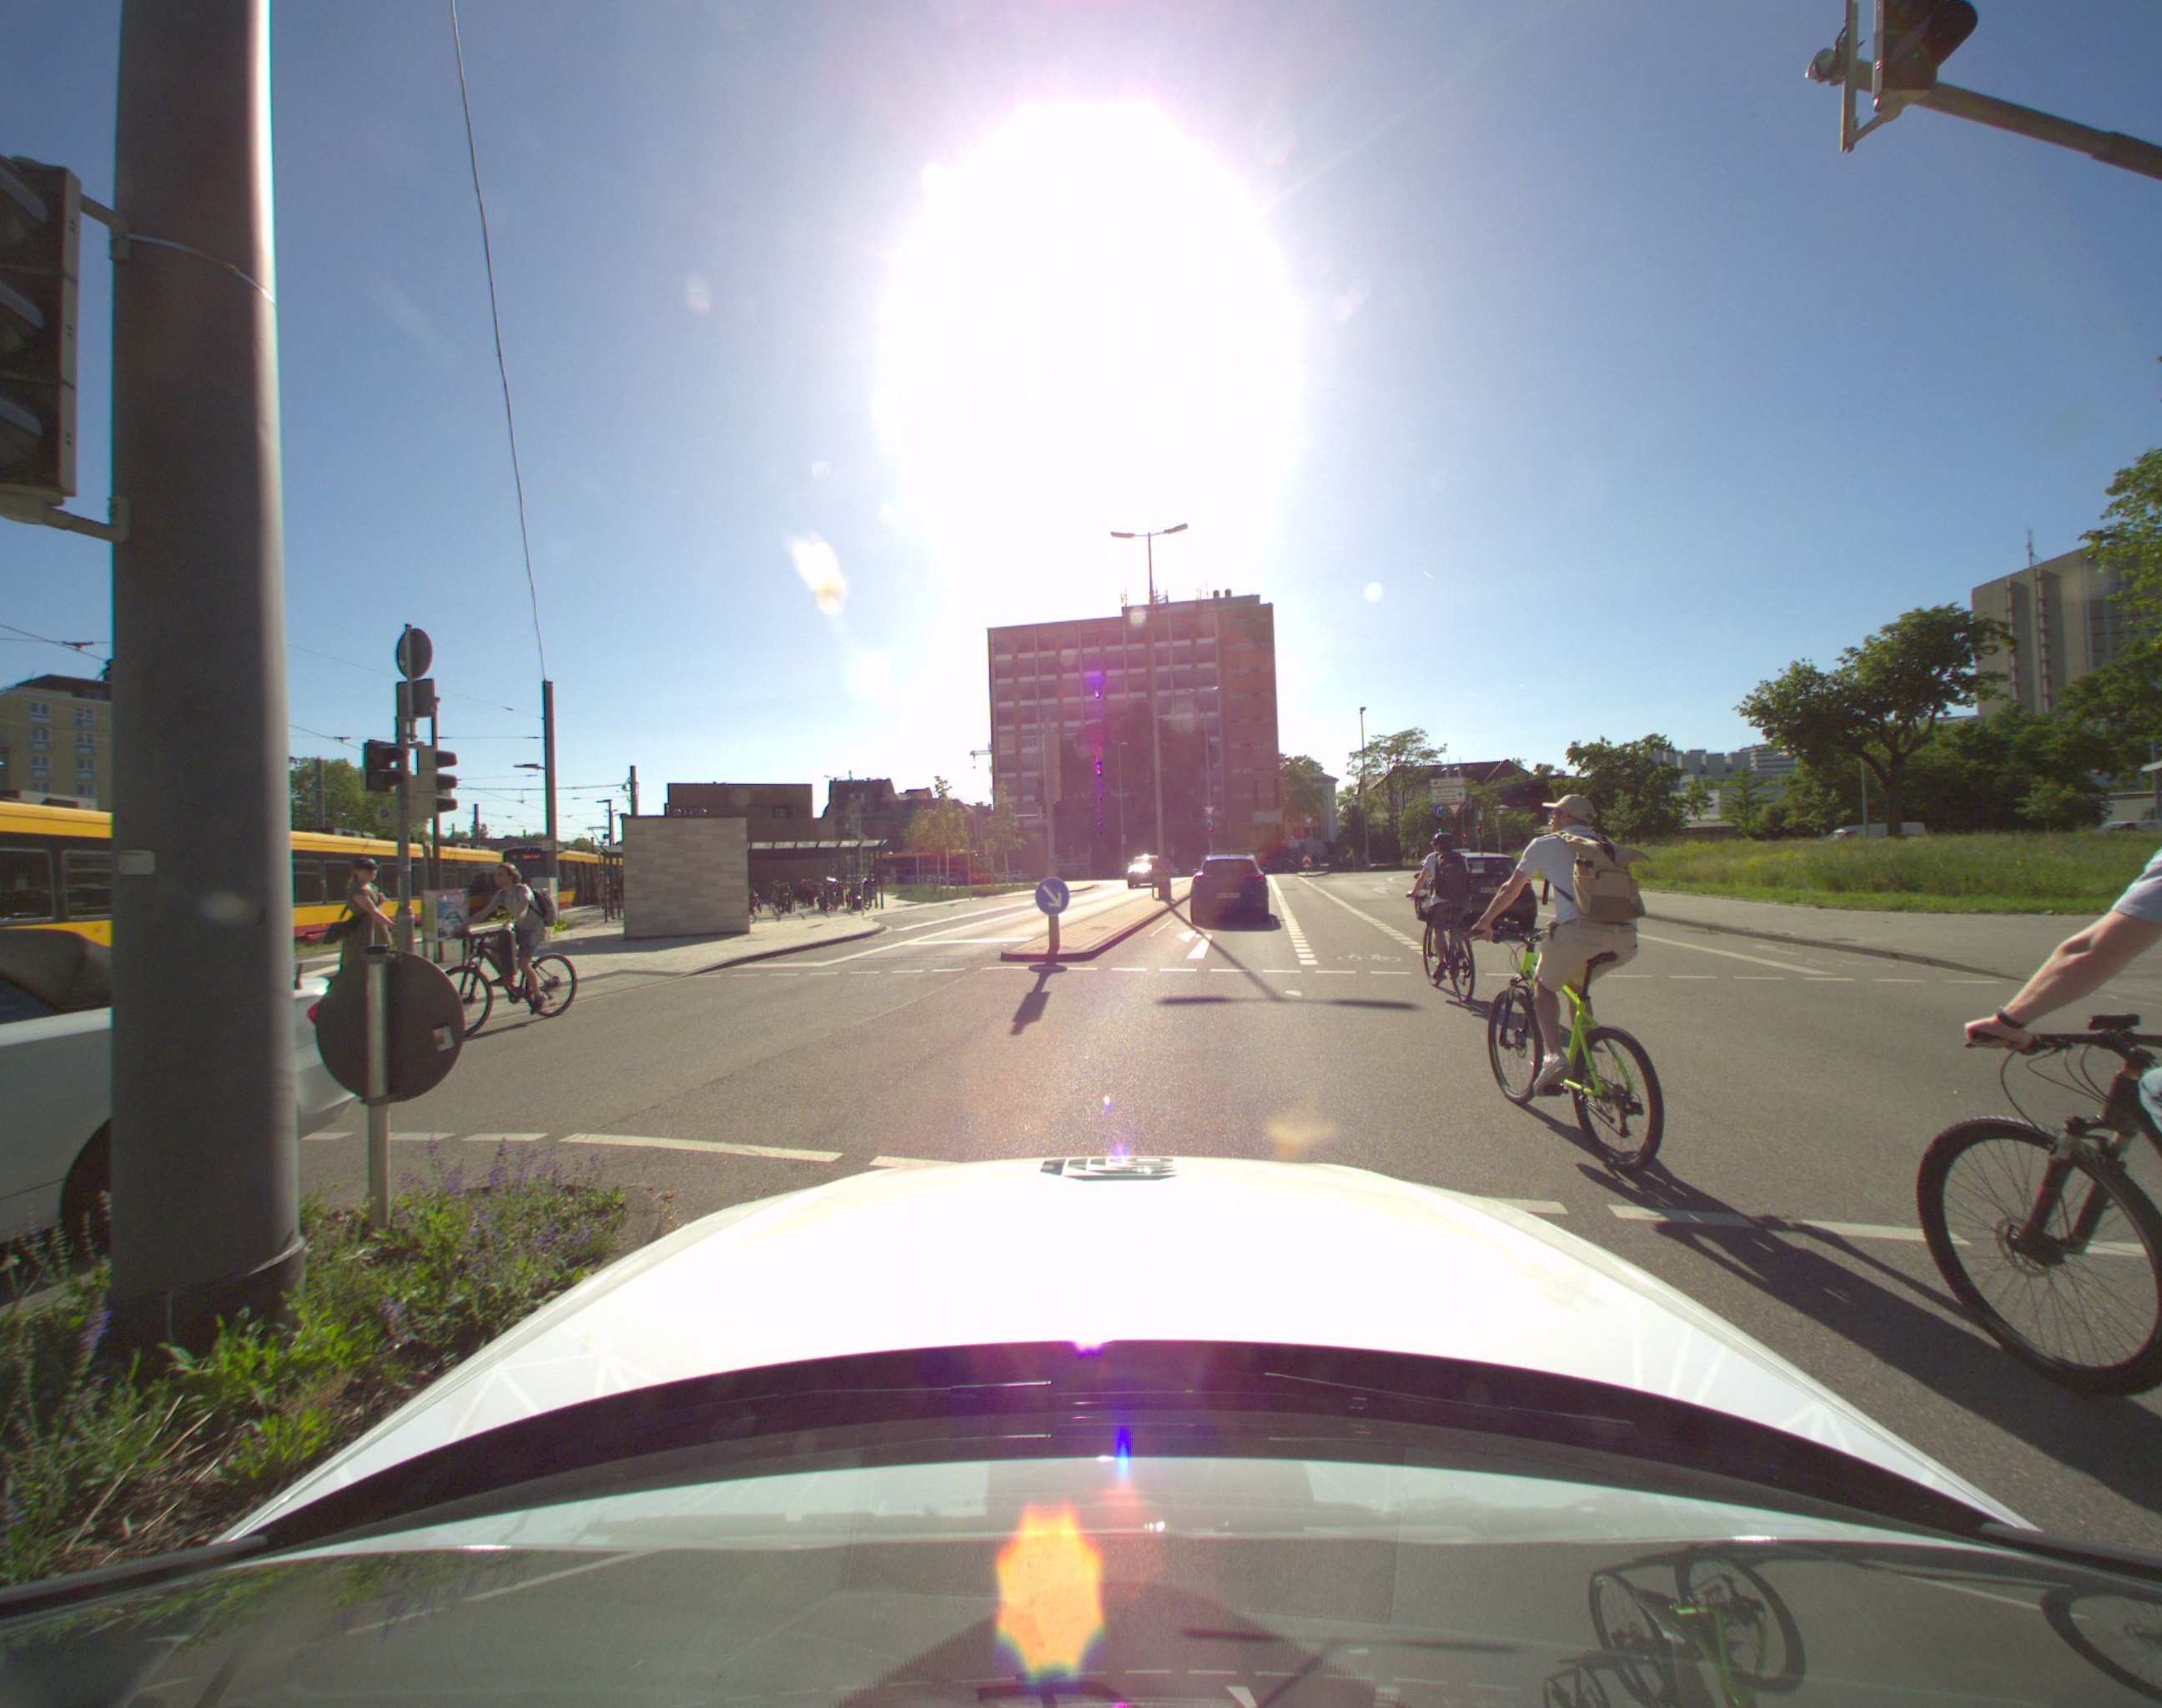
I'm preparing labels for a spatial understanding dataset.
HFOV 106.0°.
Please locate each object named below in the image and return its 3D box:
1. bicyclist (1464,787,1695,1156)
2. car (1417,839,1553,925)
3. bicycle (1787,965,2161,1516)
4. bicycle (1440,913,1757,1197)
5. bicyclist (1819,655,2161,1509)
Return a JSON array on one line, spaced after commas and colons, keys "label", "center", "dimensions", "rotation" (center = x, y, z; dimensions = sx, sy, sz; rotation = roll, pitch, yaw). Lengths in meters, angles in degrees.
[{"label": "bicyclist", "center": [2.602, 0.556, 4.370], "dimensions": [0.660, 1.747, 1.007], "rotation": [-2, 1, 6]}, {"label": "car", "center": [8.034, 0.557, 16.523], "dimensions": [1.743, 1.542, 3.673], "rotation": [-1, -2, 15]}, {"label": "bicycle", "center": [2.770, 0.939, 2.086], "dimensions": [0.607, 1.077, 1.836], "rotation": [-2, -1, 12]}, {"label": "bicycle", "center": [2.620, 0.932, 4.421], "dimensions": [0.659, 1.047, 1.894], "rotation": [-2, 0, 6]}, {"label": "bicyclist", "center": [2.692, 0.477, 2.069], "dimensions": [0.744, 1.776, 1.017], "rotation": [-2, -1, 12]}]
